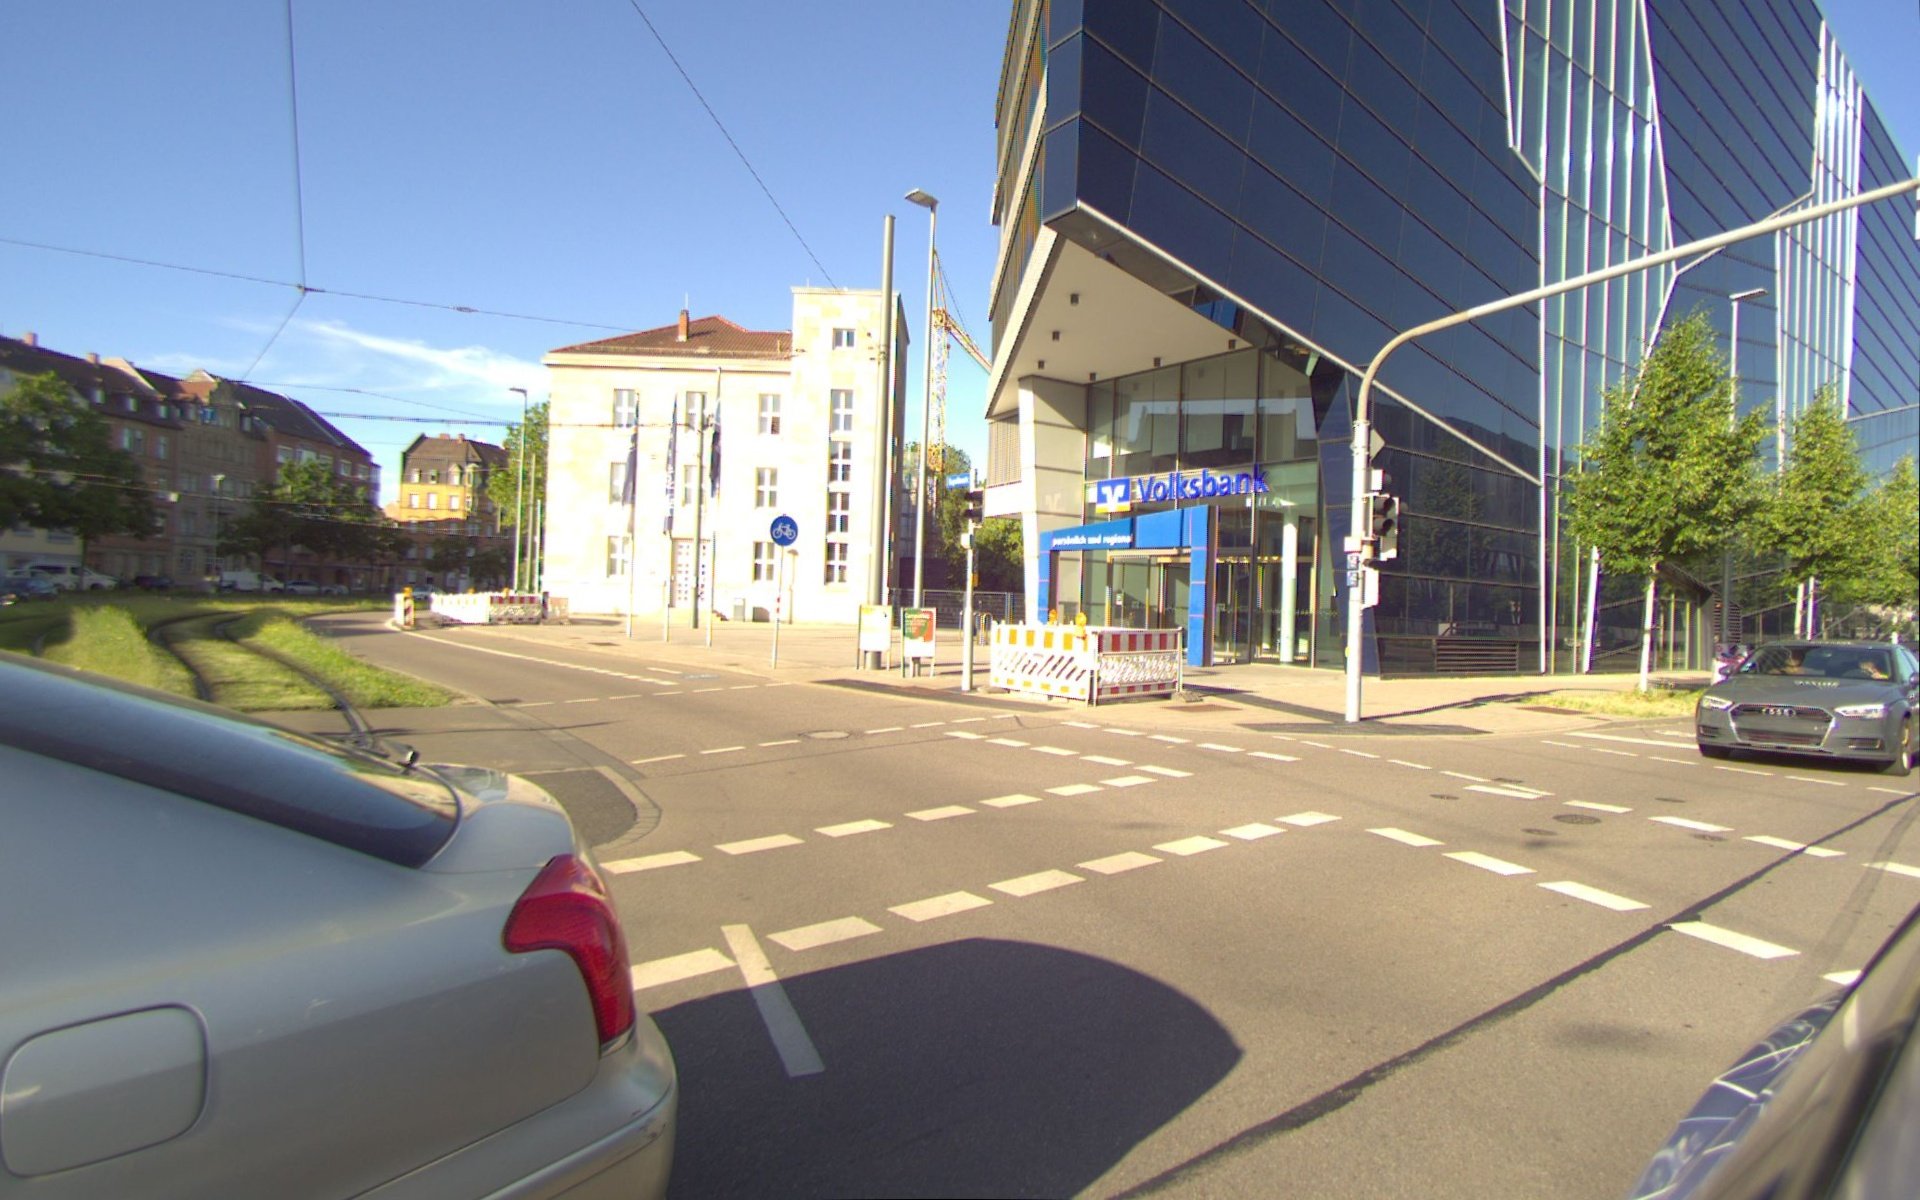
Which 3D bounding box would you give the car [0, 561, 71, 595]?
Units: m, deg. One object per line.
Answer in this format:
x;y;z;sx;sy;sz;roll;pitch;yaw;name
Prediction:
-58.963;-1.426;63.762;3.918;1.794;2.003;6;-2;-28;car

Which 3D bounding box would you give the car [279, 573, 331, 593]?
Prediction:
-59.638;-1.552;92.169;3.921;1.794;2.002;1;1;-32;car

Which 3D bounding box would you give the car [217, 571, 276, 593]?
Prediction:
-60.156;-1.513;85.413;3.921;1.794;2.002;1;1;-32;car

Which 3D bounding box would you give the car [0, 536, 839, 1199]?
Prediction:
-2.498;0.655;0.908;4.547;1.500;1.749;1;-1;-41;car

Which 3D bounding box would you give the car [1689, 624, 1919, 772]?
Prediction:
10.260;0.996;11.734;4.184;1.410;1.750;1;-2;-36;car

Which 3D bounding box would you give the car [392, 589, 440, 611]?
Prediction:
-45.513;0.021;84.759;1.961;1.728;4.001;0;-1;-3;car

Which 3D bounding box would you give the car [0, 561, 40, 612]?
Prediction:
-40.577;-0.603;42.689;1.961;2.038;4.002;0;1;-33;car

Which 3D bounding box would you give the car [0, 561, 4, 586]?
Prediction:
-67.880;-1.844;68.642;1.962;1.743;4.413;1;1;0;car

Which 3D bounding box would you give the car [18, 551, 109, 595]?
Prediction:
-59.714;-1.807;67.499;3.918;2.437;2.003;7;-2;-28;car
